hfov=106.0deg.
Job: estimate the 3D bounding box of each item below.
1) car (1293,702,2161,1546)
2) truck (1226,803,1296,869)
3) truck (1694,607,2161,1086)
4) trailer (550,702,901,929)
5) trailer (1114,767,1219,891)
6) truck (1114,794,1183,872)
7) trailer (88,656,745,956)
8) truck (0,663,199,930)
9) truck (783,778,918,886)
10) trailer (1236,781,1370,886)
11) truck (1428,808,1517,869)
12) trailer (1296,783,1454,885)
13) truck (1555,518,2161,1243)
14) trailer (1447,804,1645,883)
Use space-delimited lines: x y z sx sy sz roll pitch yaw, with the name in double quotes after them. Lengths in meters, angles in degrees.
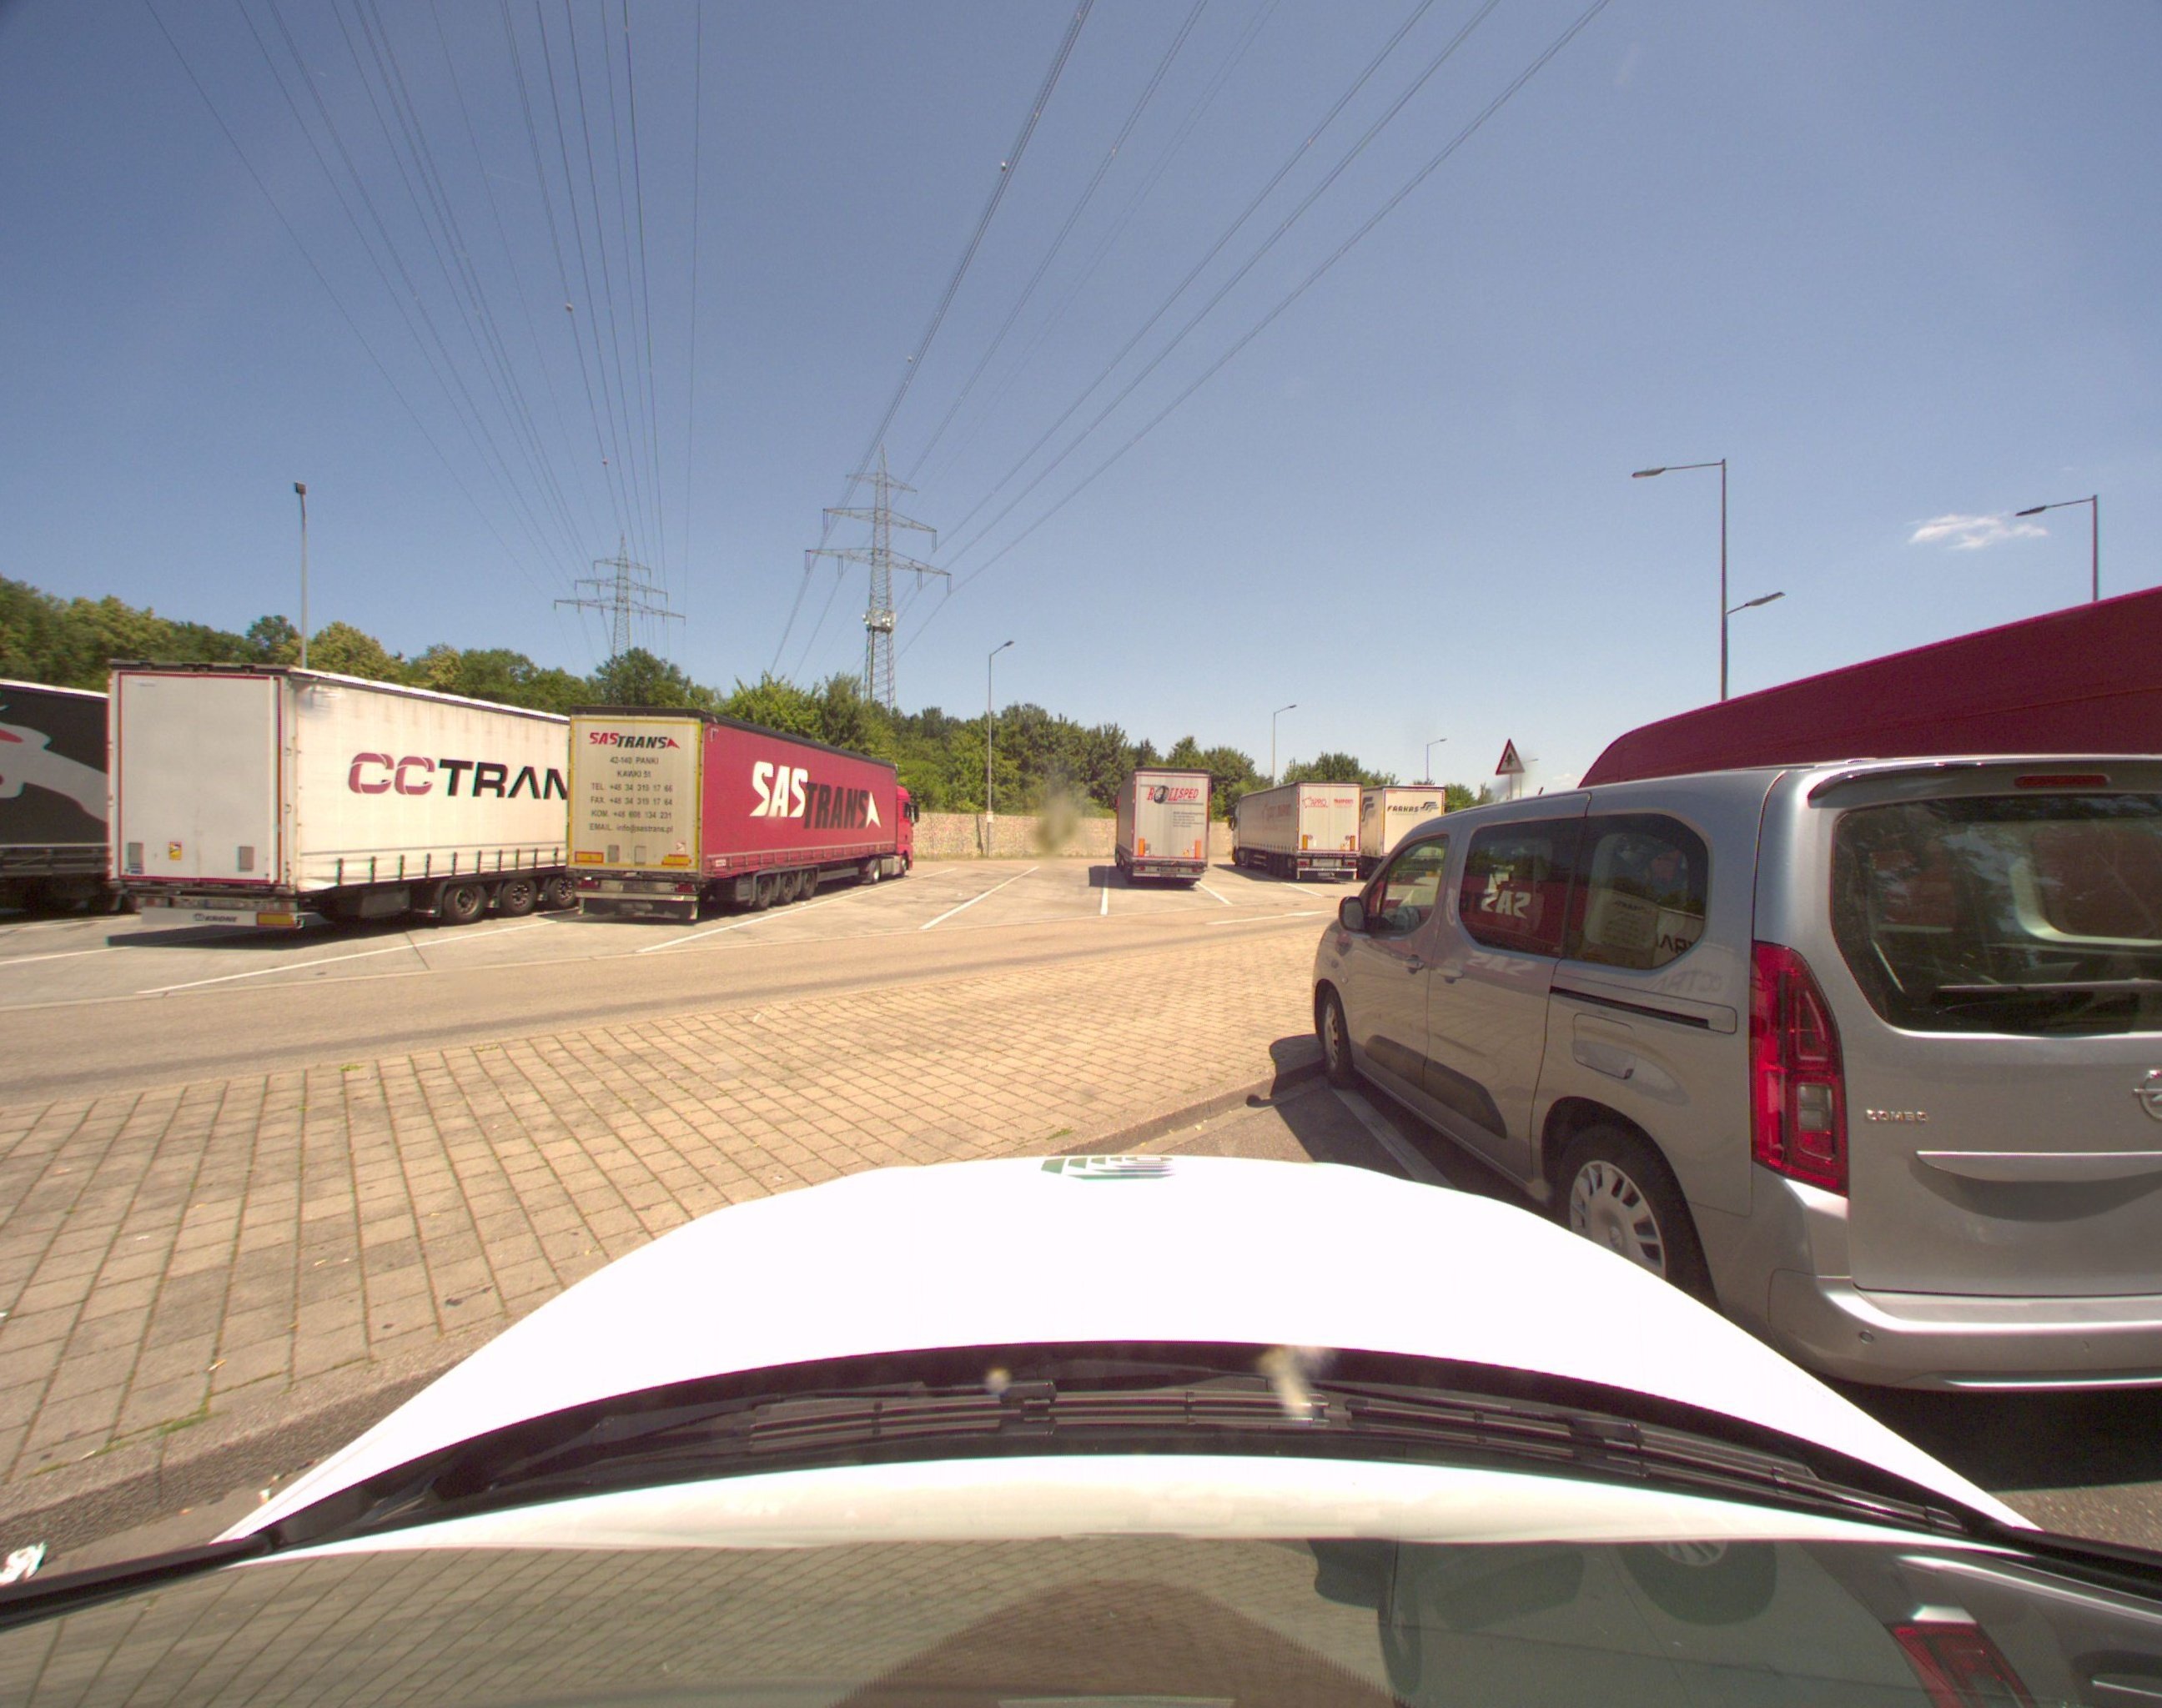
2.492 0.570 3.894 1.864 1.863 4.176 1 1 0 "car"
10.194 -1.076 46.756 2.852 3.521 5.903 1 2 2 "truck"
7.993 -0.042 6.466 2.444 2.912 5.663 -1 -1 7 "truck"
-8.061 -0.947 21.916 2.781 4.084 14.139 1 2 2 "trailer"
3.066 -1.065 33.707 3.122 3.989 14.401 1 2 1 "trailer"
3.232 -1.081 40.601 3.092 3.566 5.903 1 2 2 "truck"
-12.126 -0.911 18.347 2.785 4.084 14.139 1 2 2 "trailer"
-18.538 -0.968 13.795 2.726 4.239 3.997 1 2 2 "truck"
-7.813 -0.784 28.486 2.840 3.327 5.903 1 2 2 "truck"
9.932 -1.047 38.655 2.801 3.989 14.403 1 2 2 "trailer"
24.359 -1.009 50.996 2.792 3.521 5.903 1 2 2 "truck"
13.605 -1.038 39.618 2.801 3.989 14.403 1 2 2 "trailer"
5.138 0.114 4.918 1.968 2.622 5.314 0 -1 7 "truck"
24.102 -0.738 43.764 2.801 3.507 14.403 1 2 2 "trailer"
